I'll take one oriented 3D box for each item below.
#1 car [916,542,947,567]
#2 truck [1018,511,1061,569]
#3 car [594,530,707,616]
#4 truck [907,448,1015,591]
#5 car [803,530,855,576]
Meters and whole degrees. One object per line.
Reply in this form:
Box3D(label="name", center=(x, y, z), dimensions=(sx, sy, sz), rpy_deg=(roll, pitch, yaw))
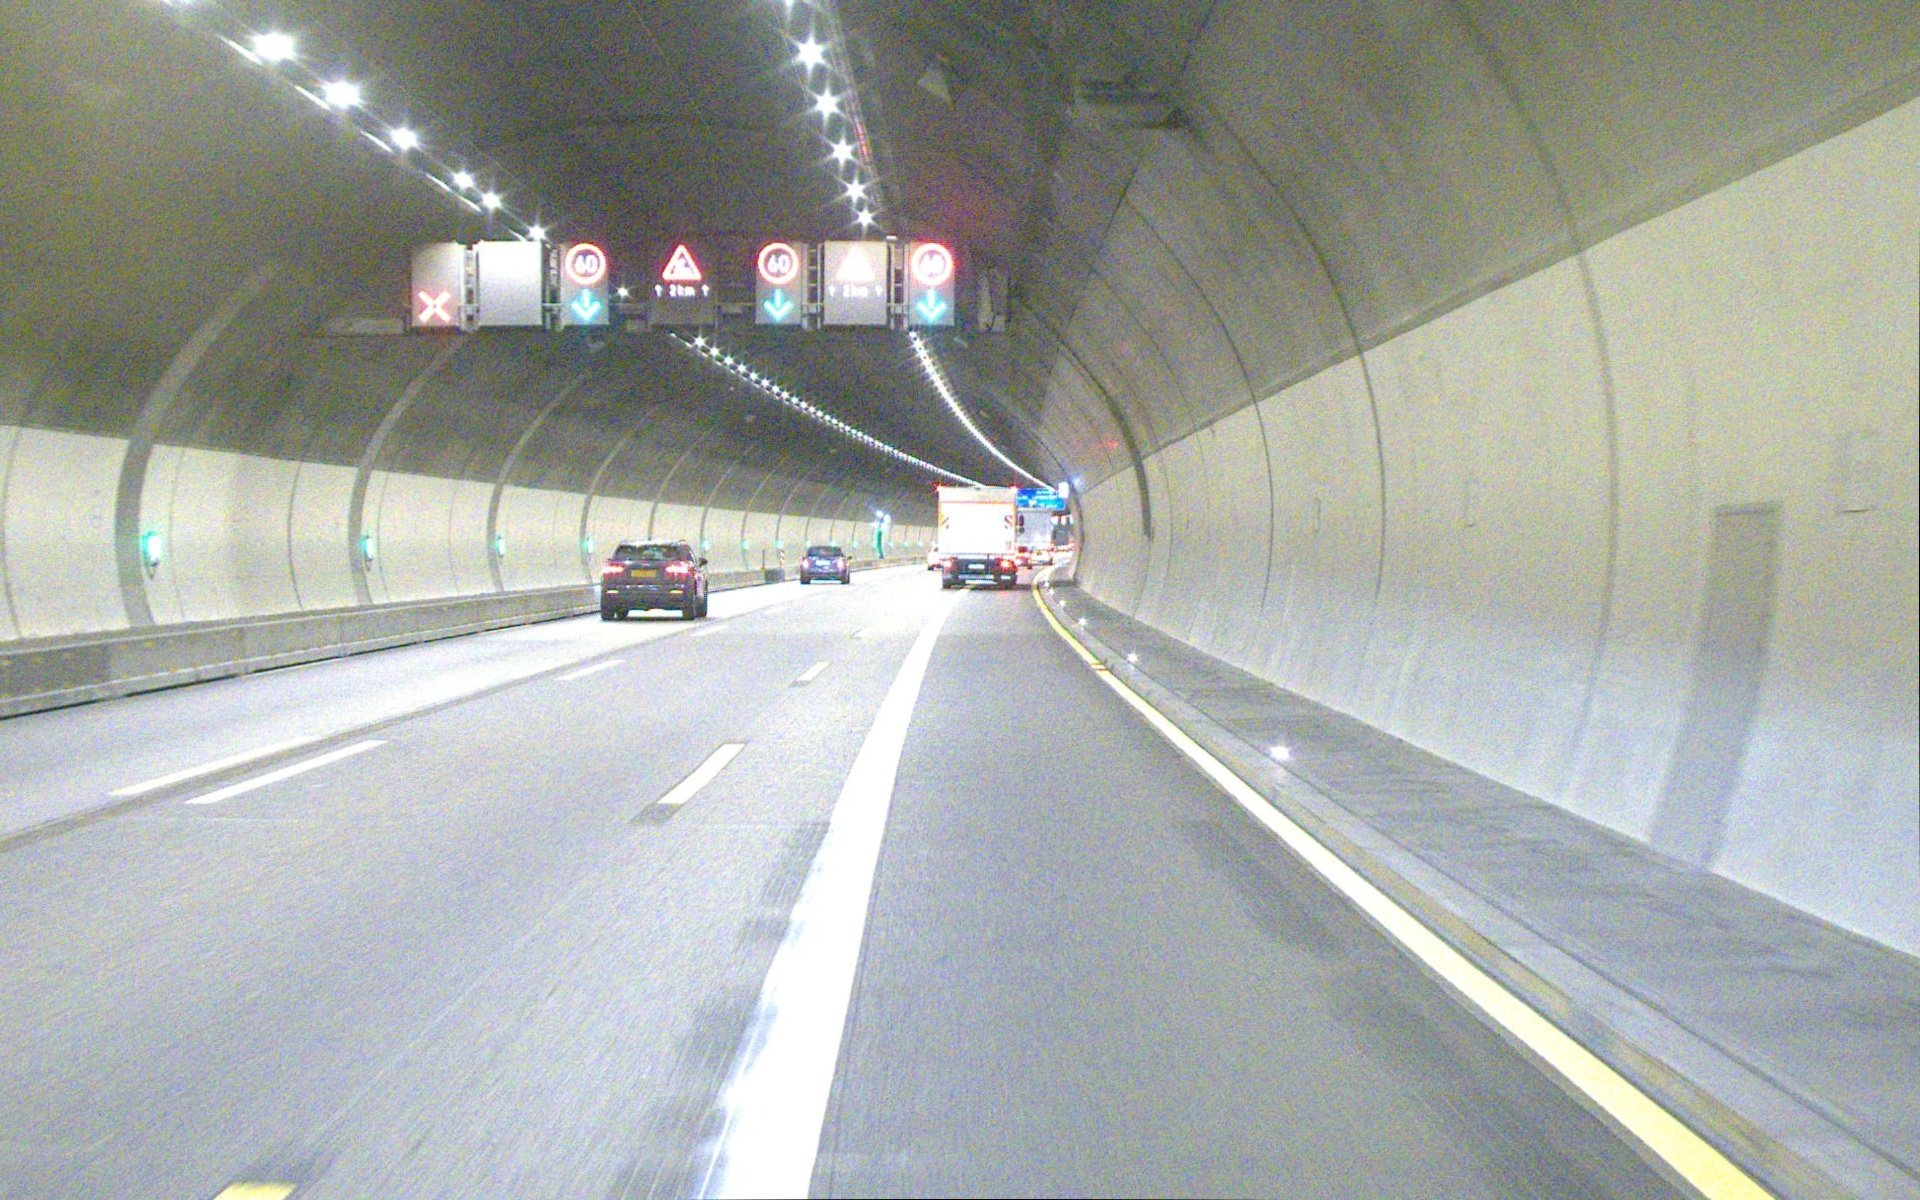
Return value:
Box3D(label="car", center=(-1.565, -2.494, 187.747), dimensions=(1.650, 1.270, 4.001), rpy_deg=(0, 2, -1))
Box3D(label="truck", center=(5.725, -4.298, 247.503), dimensions=(2.923, 4.034, 14.029), rpy_deg=(-1, 1, 1))
Box3D(label="car", center=(-6.011, -0.560, 67.167), dimensions=(1.812, 1.612, 4.000), rpy_deg=(1, 1, 0))
Box3D(label="truck", center=(-0.110, -2.774, 121.573), dimensions=(3.278, 4.634, 17.288), rpy_deg=(-1, 1, -2))
Box3D(label="car", center=(-4.757, -1.726, 125.240), dimensions=(1.812, 1.514, 4.001), rpy_deg=(0, 2, -1))
